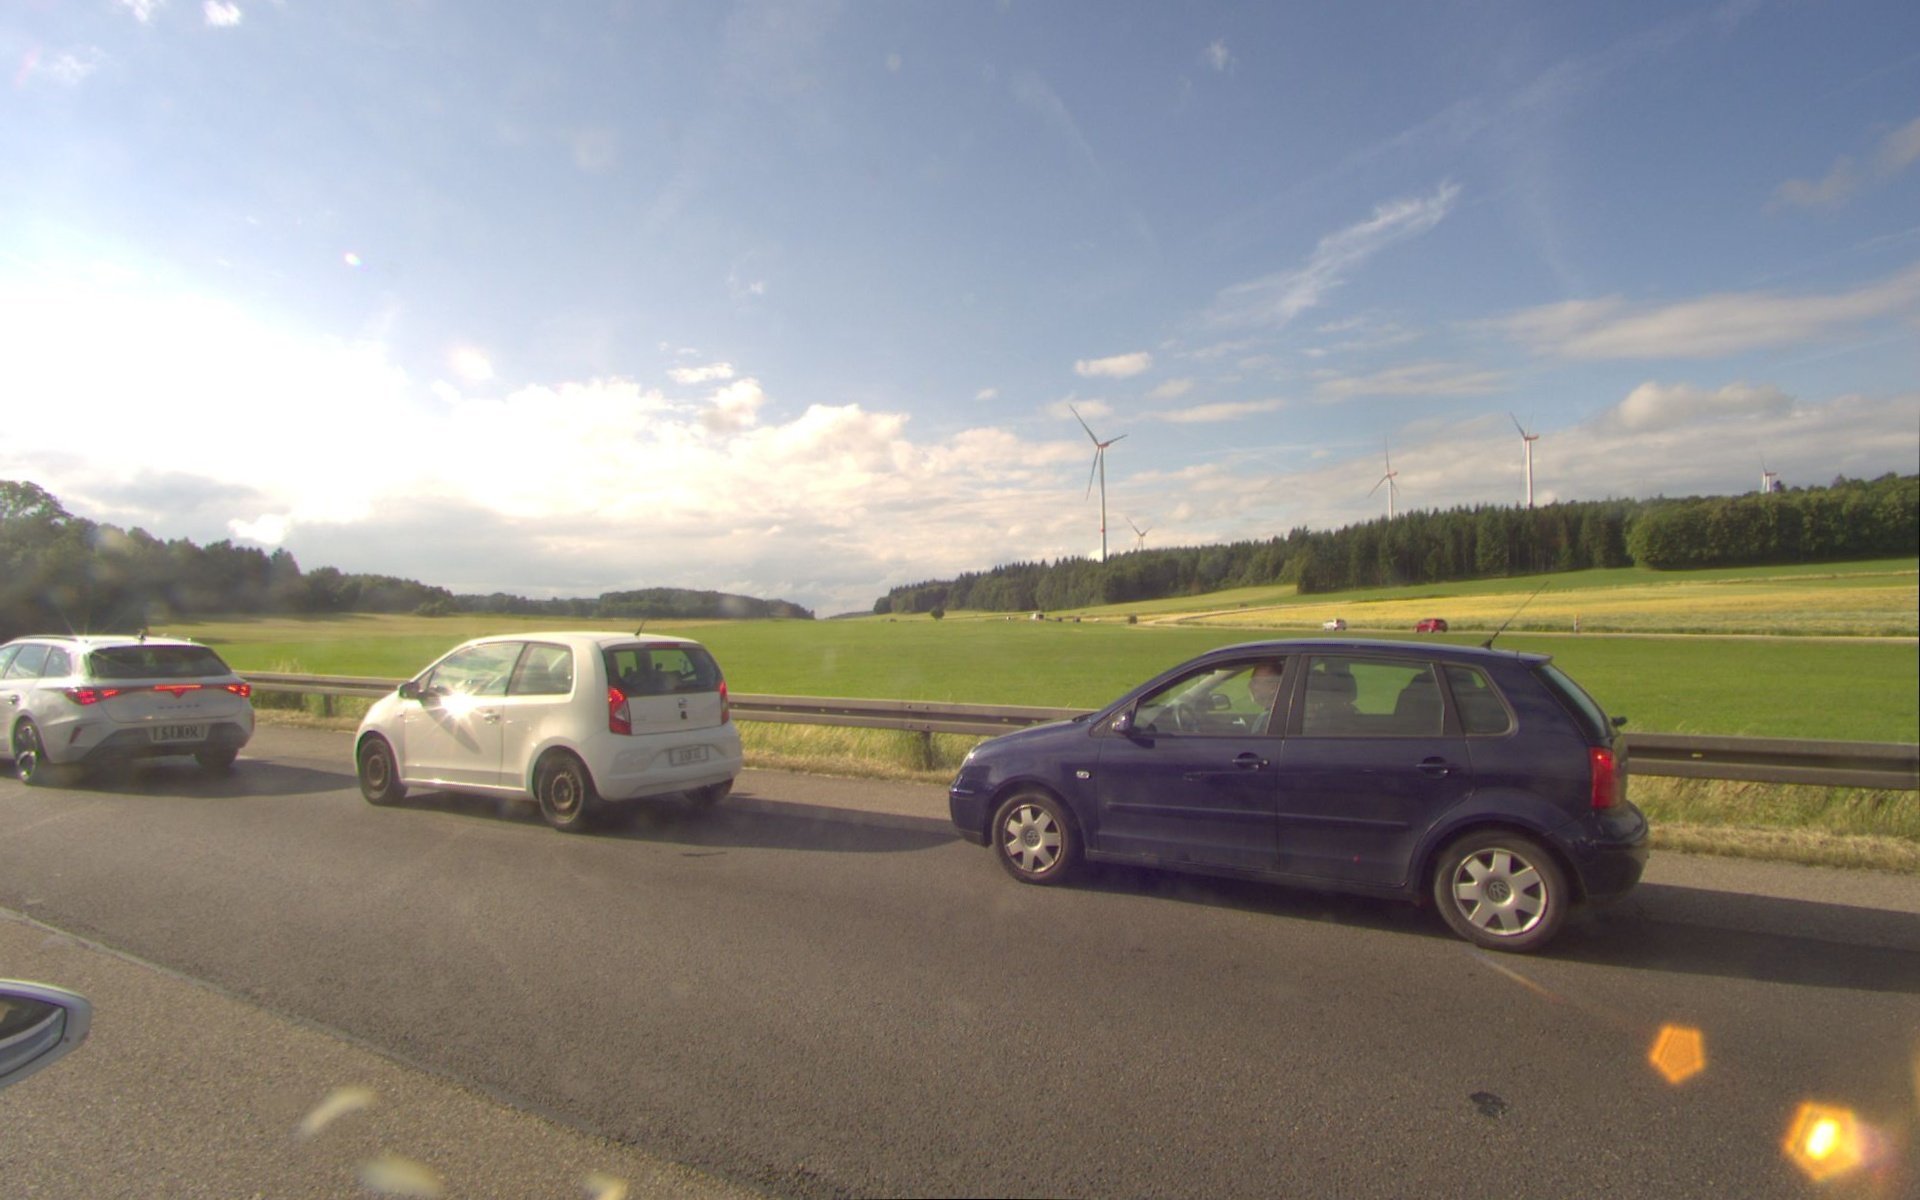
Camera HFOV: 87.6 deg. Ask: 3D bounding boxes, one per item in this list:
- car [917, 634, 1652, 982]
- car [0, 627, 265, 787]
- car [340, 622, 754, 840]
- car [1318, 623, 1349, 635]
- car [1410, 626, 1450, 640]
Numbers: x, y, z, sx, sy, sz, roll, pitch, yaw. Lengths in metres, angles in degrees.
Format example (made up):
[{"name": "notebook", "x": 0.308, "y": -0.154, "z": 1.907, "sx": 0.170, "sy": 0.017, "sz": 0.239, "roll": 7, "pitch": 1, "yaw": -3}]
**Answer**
[{"name": "car", "x": 1.756, "y": 0.944, "z": 5.939, "sx": 3.719, "sy": 1.464, "sz": 1.708, "roll": -1, "pitch": -2, "yaw": 31}, {"name": "car", "x": -9.521, "y": 1.043, "z": 10.886, "sx": 4.084, "sy": 1.464, "sz": 1.619, "roll": -1, "pitch": -2, "yaw": 29}, {"name": "car", "x": -3.551, "y": 0.960, "z": 8.543, "sx": 3.326, "sy": 1.514, "sz": 1.547, "roll": 0, "pitch": -1, "yaw": 29}, {"name": "car", "x": 46.608, "y": 3.650, "z": 125.011, "sx": 1.803, "sy": 1.505, "sz": 4.288, "roll": 0, "pitch": -2, "yaw": -6}, {"name": "car", "x": 48.883, "y": 3.433, "z": 104.206, "sx": 1.803, "sy": 1.505, "sz": 4.221, "roll": 0, "pitch": -2, "yaw": -6}]
